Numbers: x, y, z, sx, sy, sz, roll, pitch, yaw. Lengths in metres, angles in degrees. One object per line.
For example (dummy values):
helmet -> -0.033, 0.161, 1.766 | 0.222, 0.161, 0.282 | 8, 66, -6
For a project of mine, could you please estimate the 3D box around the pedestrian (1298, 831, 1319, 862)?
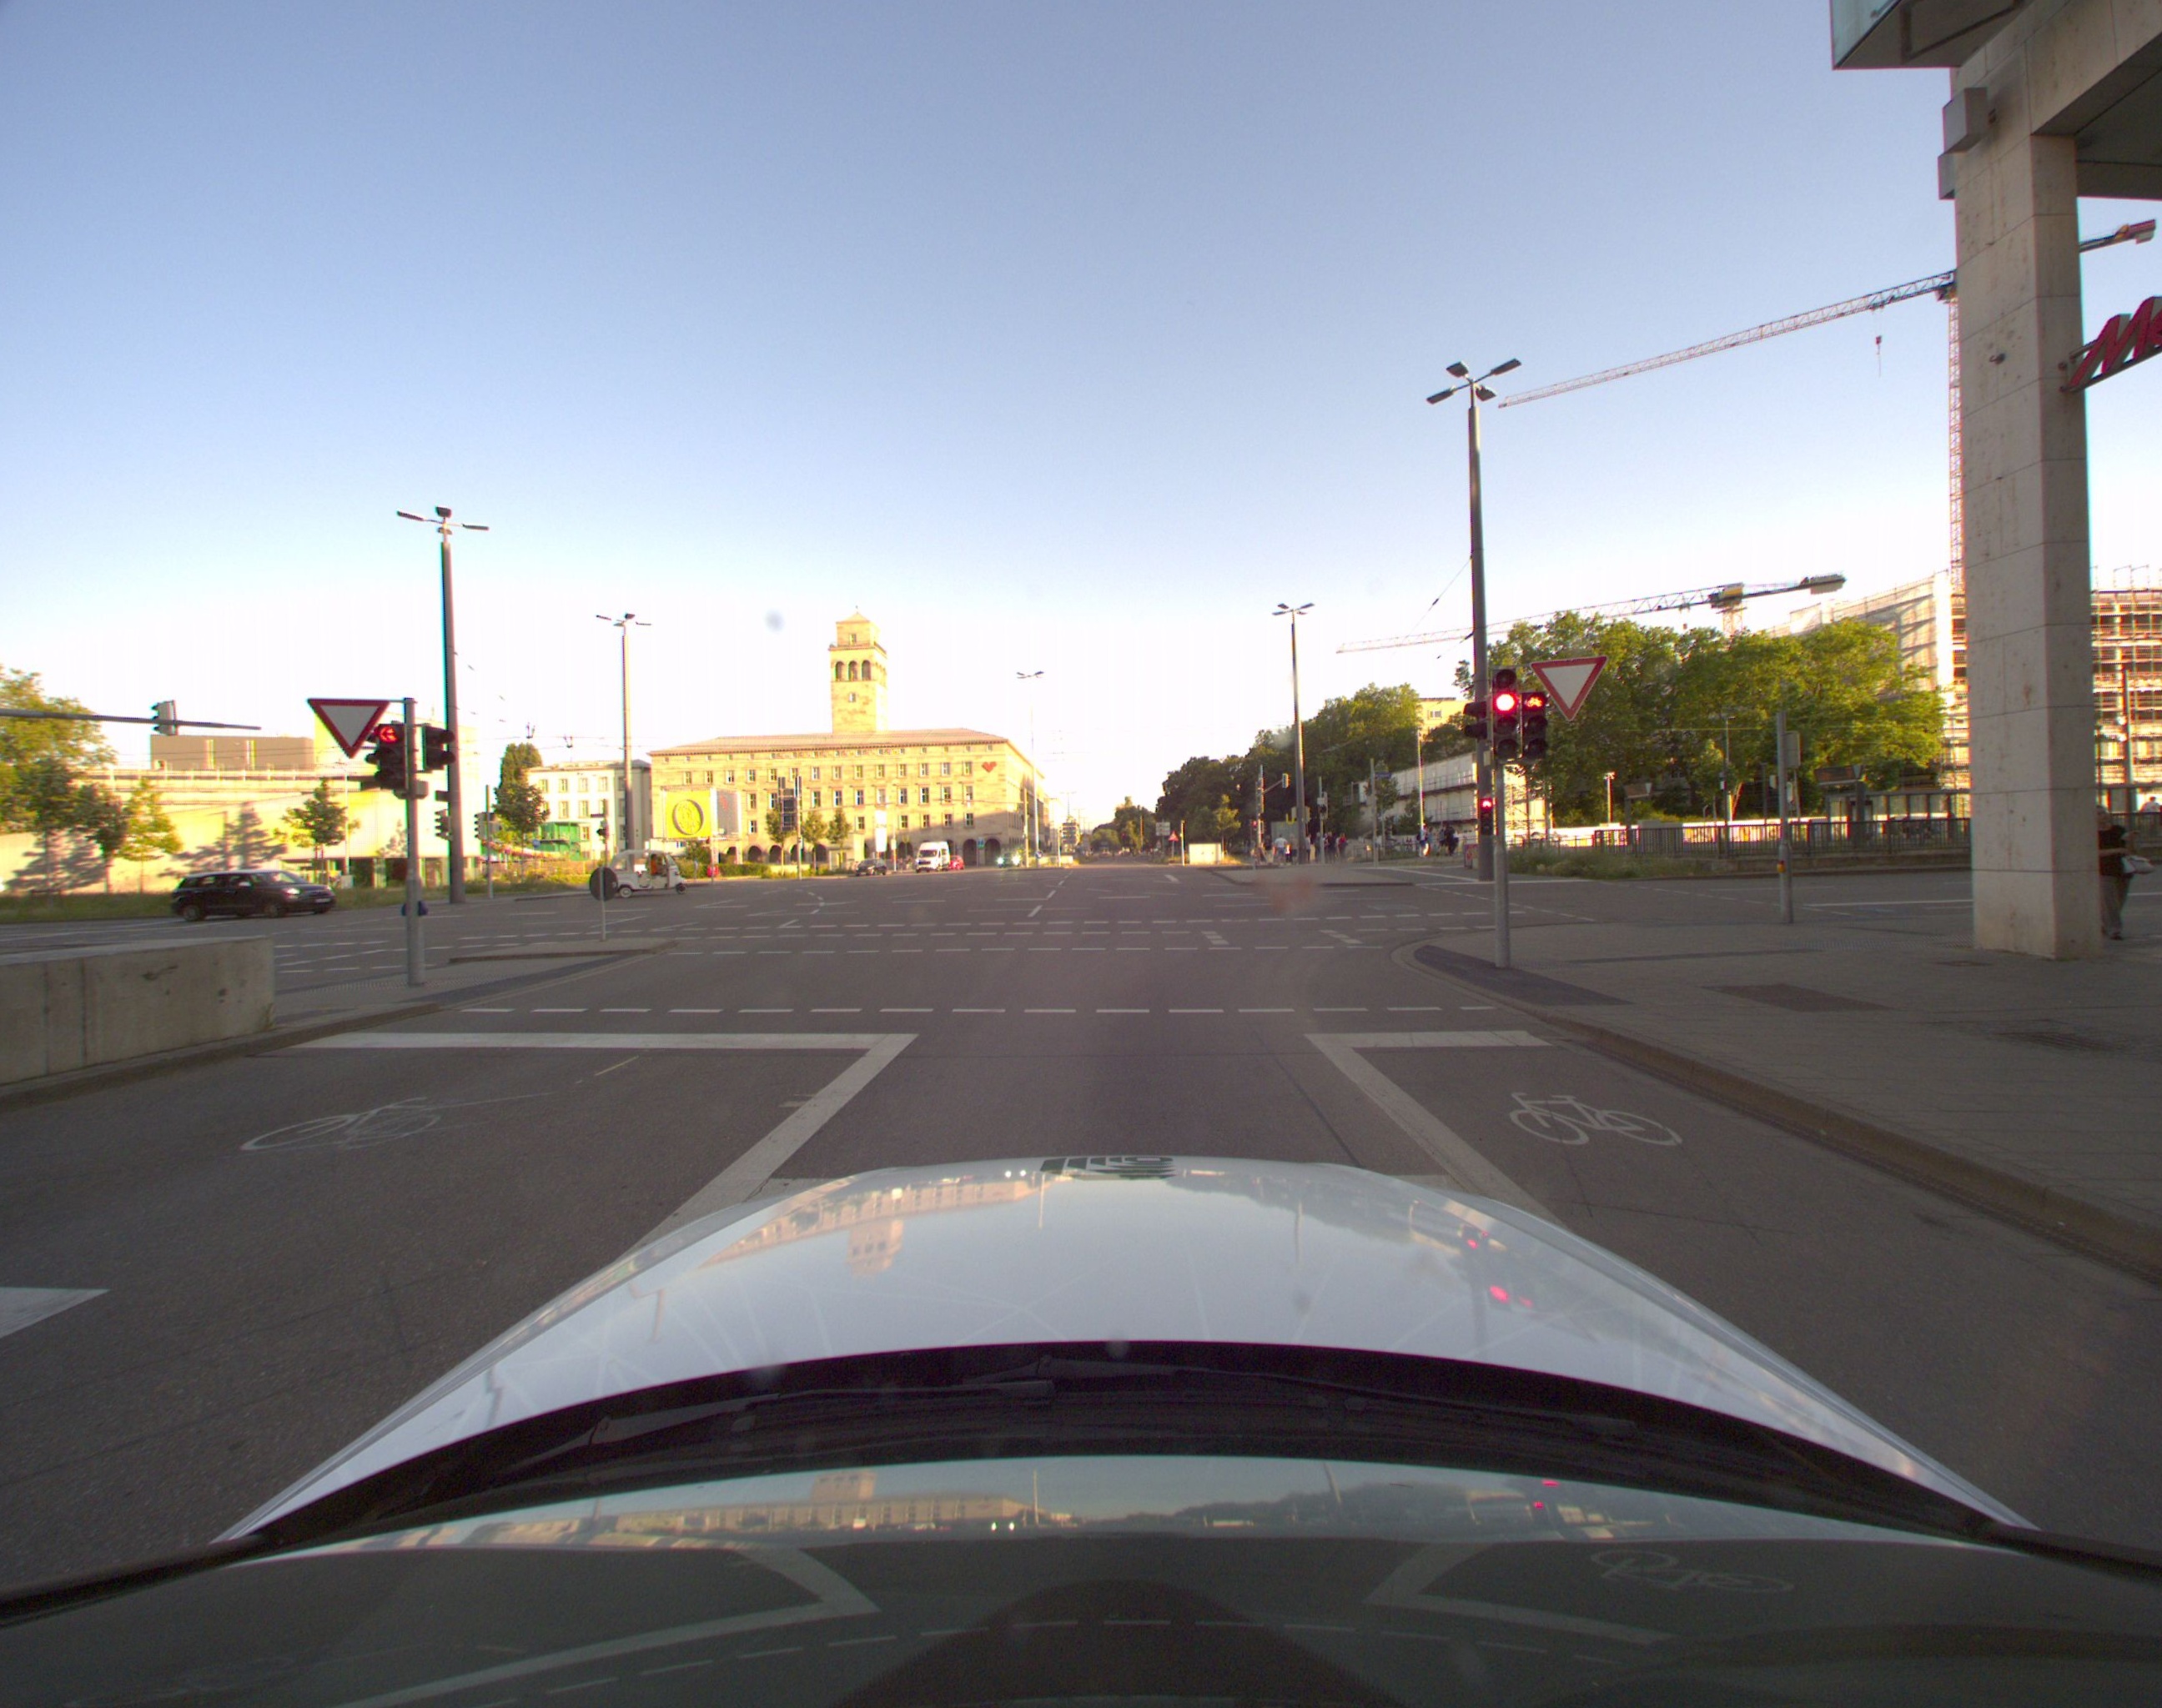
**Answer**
pedestrian -> 12.933, -0.404, 46.341 | 0.918, 1.725, 0.706 | -2, 1, -33

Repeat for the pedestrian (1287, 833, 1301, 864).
pedestrian -> 11.991, -0.313, 45.741 | 0.705, 1.725, 0.671 | -2, 1, 15

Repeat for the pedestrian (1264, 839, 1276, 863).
pedestrian -> 14.032, -0.213, 60.452 | 0.673, 1.757, 0.907 | -2, 1, 22

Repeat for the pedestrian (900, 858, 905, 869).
pedestrian -> -20.822, 1.145, 95.108 | 0.504, 1.300, 0.700 | 0, -1, -3

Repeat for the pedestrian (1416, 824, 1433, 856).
pedestrian -> 18.488, -0.758, 43.844 | 0.662, 1.725, 0.715 | -2, 0, 10

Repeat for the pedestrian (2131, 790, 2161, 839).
pedestrian -> 44.991, -1.650, 34.364 | 0.573, 2.013, 0.568 | -2, 0, -2

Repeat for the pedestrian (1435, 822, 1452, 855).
pedestrian -> 19.246, -0.814, 43.225 | 0.705, 1.725, 0.672 | -2, 0, 19

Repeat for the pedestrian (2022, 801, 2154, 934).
pedestrian -> 12.986, 0.165, 10.523 | 0.787, 1.638, 0.708 | -2, 0, 3

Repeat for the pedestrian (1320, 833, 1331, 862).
pedestrian -> 14.115, -0.374, 46.958 | 0.568, 1.678, 0.641 | -2, 1, 16

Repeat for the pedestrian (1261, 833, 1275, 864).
pedestrian -> 10.382, -0.303, 45.211 | 0.706, 1.725, 0.918 | -2, 1, 14

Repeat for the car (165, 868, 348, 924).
car -> -27.566, 1.363, 27.334 | 4.113, 1.604, 1.742 | -2, 0, -5

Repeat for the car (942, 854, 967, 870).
car -> -12.637, 0.783, 81.673 | 1.732, 1.487, 4.002 | -2, 1, 2

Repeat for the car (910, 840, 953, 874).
car -> -13.285, 0.224, 72.986 | 2.269, 2.776, 6.090 | -2, 0, 4

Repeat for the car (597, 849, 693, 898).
car -> -16.425, 0.708, 30.703 | 2.987, 1.696, 1.472 | -2, 0, -36

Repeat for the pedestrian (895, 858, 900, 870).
pedestrian -> -21.464, 1.170, 95.296 | 0.473, 1.300, 0.463 | 0, -1, -4

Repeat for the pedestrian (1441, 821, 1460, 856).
pedestrian -> 19.085, -0.797, 42.066 | 0.664, 1.725, 0.713 | -2, 0, 2

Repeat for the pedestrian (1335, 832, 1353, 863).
pedestrian -> 14.808, -0.377, 45.843 | 0.838, 1.734, 0.708 | -2, 1, 14

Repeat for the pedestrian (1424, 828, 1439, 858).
pedestrian -> 19.166, -0.589, 44.562 | 0.569, 1.592, 0.537 | -2, 0, 1

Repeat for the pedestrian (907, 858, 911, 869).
pedestrian -> -20.016, 1.135, 94.858 | 0.420, 1.300, 0.459 | 0, -1, -3

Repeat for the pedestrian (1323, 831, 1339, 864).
pedestrian -> 13.942, -0.358, 45.501 | 0.799, 1.791, 0.804 | -2, 1, 16

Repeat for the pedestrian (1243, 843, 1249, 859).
pedestrian -> 18.788, -0.330, 92.796 | 0.638, 1.760, 0.526 | -2, 1, 10

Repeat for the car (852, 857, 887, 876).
car -> -18.357, 1.102, 70.878 | 1.817, 1.466, 4.158 | -2, 1, 0

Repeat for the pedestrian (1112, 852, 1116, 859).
pedestrian -> 7.873, 0.261, 194.936 | 0.903, 1.671, 1.307 | -2, 1, 1

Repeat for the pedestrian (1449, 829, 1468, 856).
pedestrian -> 20.246, -0.604, 43.713 | 0.673, 1.441, 0.715 | -2, 0, 4

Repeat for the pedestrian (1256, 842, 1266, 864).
pedestrian -> 13.339, -0.083, 60.436 | 0.555, 1.654, 0.907 | -2, 1, 22

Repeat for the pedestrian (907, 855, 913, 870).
pedestrian -> -20.100, 0.980, 95.851 | 0.620, 1.744, 0.459 | 0, -1, -4

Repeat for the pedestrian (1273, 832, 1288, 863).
pedestrian -> 11.256, -0.366, 45.924 | 0.706, 1.725, 0.670 | -2, 1, 9

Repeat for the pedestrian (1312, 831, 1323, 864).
pedestrian -> 13.207, -0.365, 45.516 | 0.568, 1.791, 0.641 | -2, 1, 16

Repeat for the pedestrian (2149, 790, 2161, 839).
pedestrian -> 45.022, -1.655, 33.742 | 0.623, 2.013, 0.642 | -2, 0, -2

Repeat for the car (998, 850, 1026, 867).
car -> -6.166, 0.385, 72.963 | 1.815, 1.341, 4.005 | -2, 1, 4
